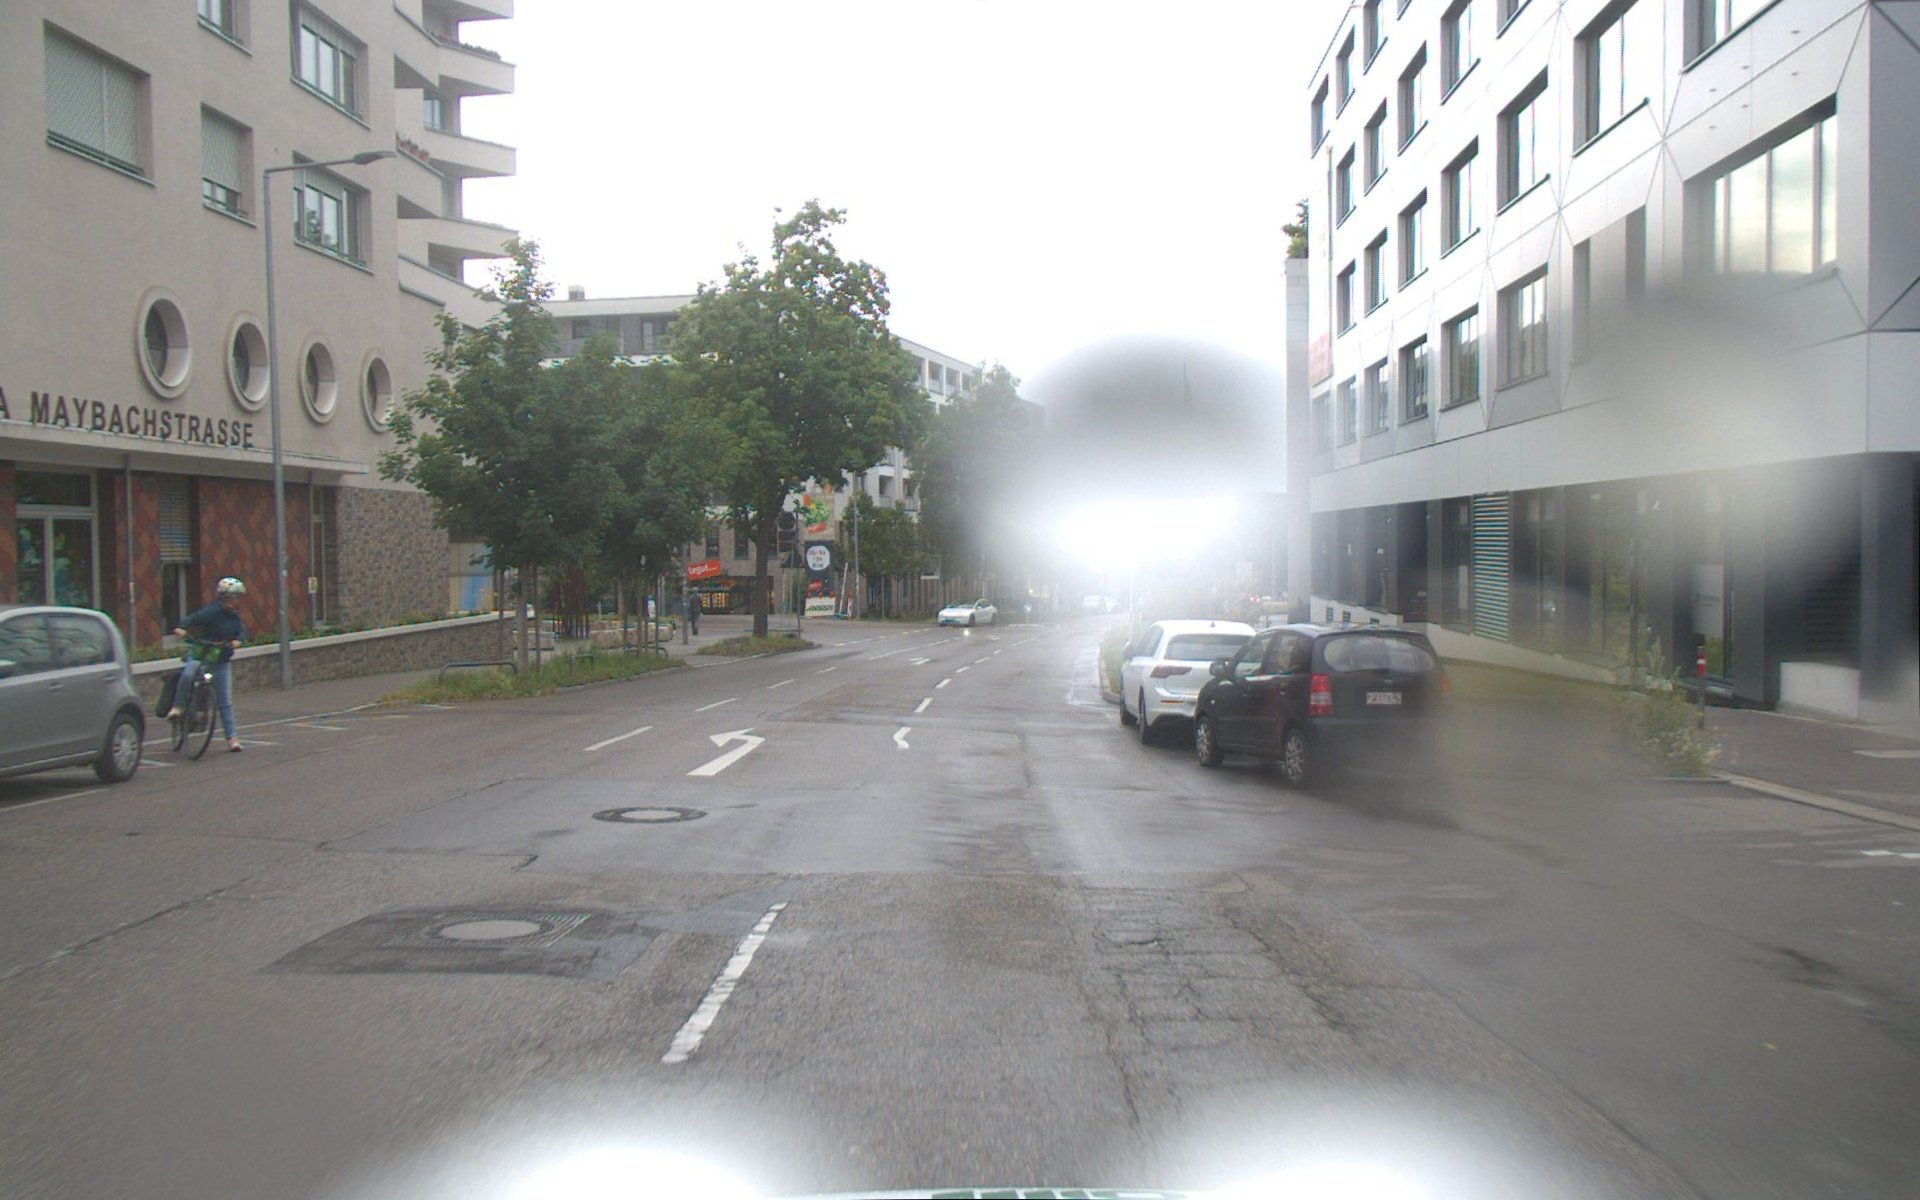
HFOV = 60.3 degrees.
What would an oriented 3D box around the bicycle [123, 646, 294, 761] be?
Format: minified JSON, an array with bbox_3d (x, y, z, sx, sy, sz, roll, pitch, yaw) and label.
[{"bbox_3d":[-7.373,0.985,16.362,0.786,0.996,2.252,1,-1,-4],"label":"bicycle"}]

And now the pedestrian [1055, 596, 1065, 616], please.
[{"bbox_3d":[8.550,0.510,141.607,0.693,1.712,0.957,0,0,10],"label":"pedestrian"}]

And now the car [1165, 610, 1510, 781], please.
[{"bbox_3d":[3.684,0.884,16.951,2.007,1.484,4.045,1,0,-11],"label":"car"}]

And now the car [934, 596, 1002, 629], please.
[{"bbox_3d":[0.444,0.642,87.437,2.015,1.690,4.821,0,0,21],"label":"car"}]

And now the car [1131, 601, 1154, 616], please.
[{"bbox_3d":[18.512,0.860,167.603,1.873,1.507,4.360,1,-1,11],"label":"car"}]

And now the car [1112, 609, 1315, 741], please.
[{"bbox_3d":[3.181,0.892,21.665,1.997,1.490,4.503,1,0,1],"label":"car"}]

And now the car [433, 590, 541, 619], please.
[{"bbox_3d":[-22.750,0.224,79.575,4.587,1.315,2.001,1,-1,13],"label":"car"}]

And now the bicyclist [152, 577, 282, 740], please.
[{"bbox_3d":[-7.379,0.570,16.482,0.785,1.549,1.200,1,-1,-5],"label":"bicyclist"}]

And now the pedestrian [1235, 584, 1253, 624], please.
[{"bbox_3d":[12.980,0.182,75.594,0.805,1.827,1.209,0,-1,8],"label":"pedestrian"}]

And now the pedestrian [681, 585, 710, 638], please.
[{"bbox_3d":[-10.405,0.454,64.982,1.035,2.049,1.098,1,-1,-7],"label":"pedestrian"}]

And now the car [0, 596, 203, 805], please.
[{"bbox_3d":[-7.743,0.710,12.887,1.840,1.488,3.847,1,-1,1],"label":"car"}]
